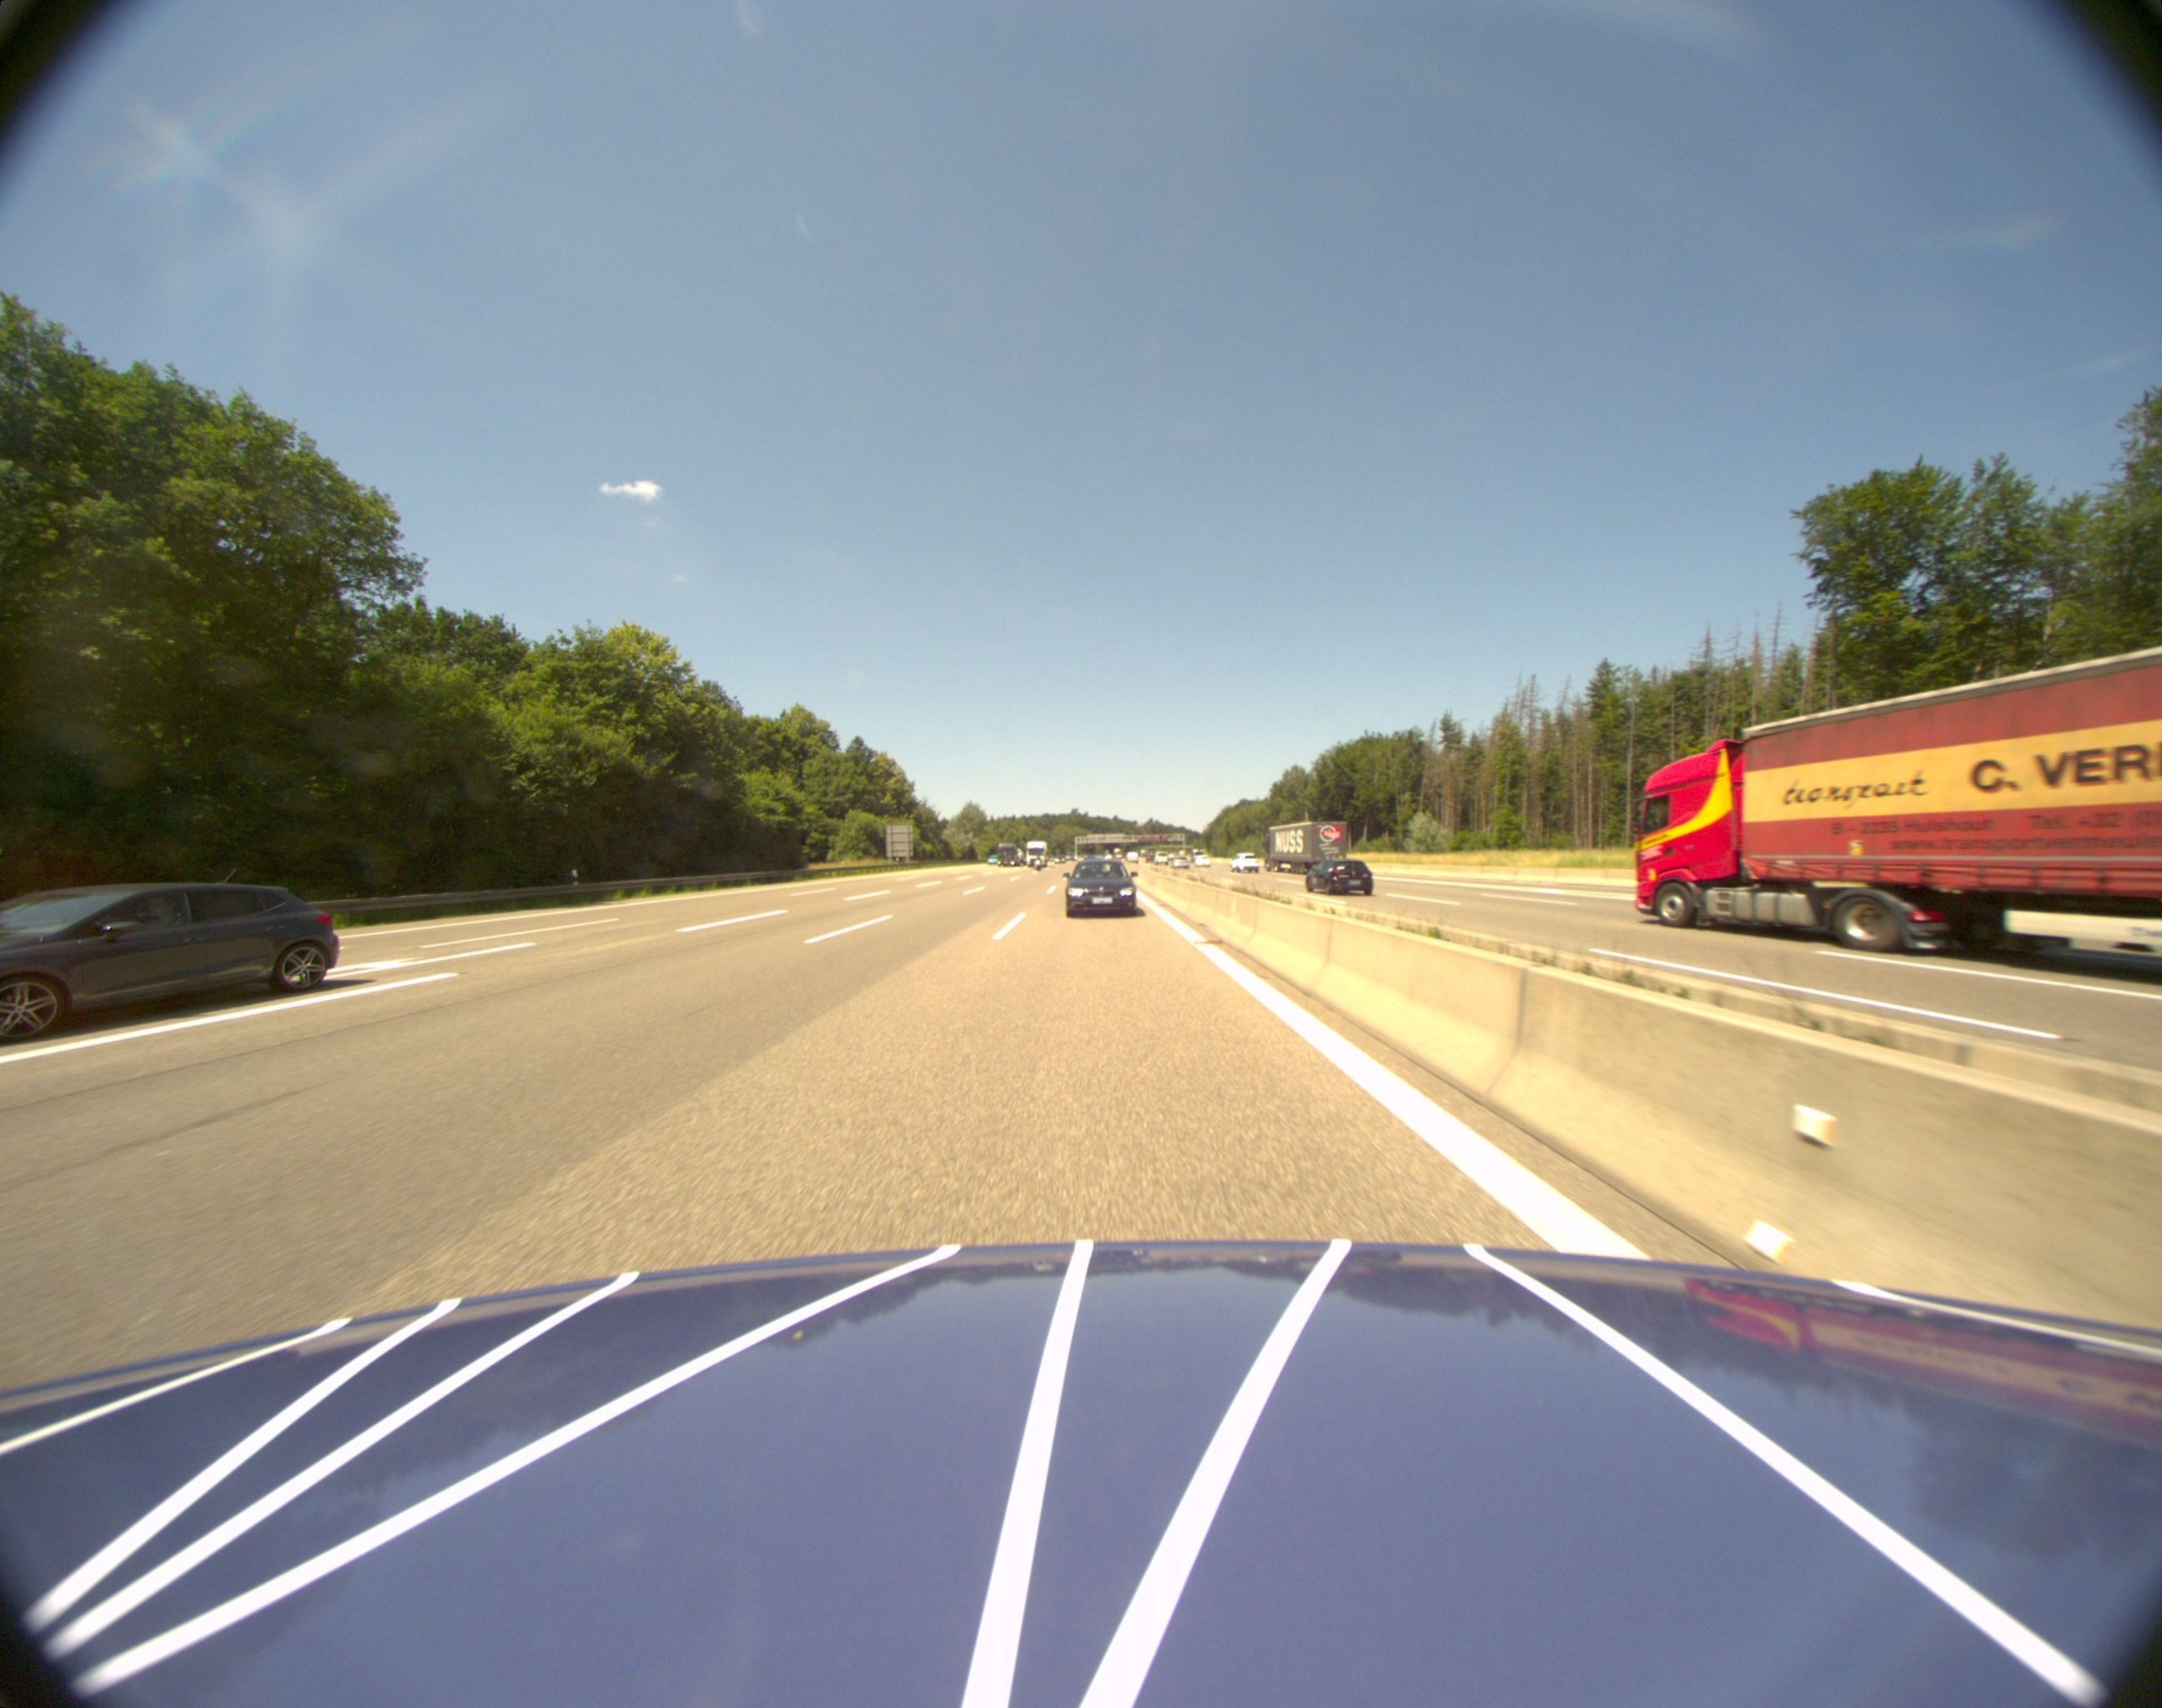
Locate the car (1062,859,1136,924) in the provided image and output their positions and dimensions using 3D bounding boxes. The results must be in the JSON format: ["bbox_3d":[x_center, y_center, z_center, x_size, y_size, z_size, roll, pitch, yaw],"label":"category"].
[{"bbox_3d":[0.490,0.908,20.262,1.741,1.450,4.542,-1,0,2],"label":"car"}]

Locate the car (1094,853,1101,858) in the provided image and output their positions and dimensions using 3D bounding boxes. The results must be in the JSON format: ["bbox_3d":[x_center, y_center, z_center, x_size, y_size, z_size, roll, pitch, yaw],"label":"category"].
[{"bbox_3d":[4.994,0.490,231.308,1.910,1.450,4.127,0,1,3],"label":"car"}]

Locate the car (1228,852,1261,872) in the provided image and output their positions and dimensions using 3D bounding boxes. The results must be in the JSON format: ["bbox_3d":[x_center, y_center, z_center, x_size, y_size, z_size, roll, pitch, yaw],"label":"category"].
[{"bbox_3d":[14.421,0.651,67.182,1.998,1.661,4.612,0,0,1],"label":"car"}]

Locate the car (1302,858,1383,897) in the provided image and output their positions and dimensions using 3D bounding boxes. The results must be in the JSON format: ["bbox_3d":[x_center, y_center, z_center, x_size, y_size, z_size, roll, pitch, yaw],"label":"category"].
[{"bbox_3d":[10.402,0.881,30.573,1.826,1.379,4.315,-1,0,1],"label":"car"}]

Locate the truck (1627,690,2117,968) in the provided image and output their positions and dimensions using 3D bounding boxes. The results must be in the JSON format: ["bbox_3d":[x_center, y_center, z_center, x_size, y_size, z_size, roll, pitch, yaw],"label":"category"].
[{"bbox_3d":[13.851,-0.375,14.314,2.534,4.025,6.472,-1,0,1],"label":"truck"}]

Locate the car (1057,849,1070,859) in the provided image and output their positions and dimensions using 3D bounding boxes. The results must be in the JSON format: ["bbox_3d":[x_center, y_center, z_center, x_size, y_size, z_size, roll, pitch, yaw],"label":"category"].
[{"bbox_3d":[-3.084,0.033,134.694,1.998,1.671,4.127,0,1,2],"label":"car"}]

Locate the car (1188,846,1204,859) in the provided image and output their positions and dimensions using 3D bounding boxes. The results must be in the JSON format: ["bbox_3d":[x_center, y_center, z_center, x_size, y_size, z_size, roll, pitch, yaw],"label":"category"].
[{"bbox_3d":[22.033,-0.226,145.665,1.953,2.398,6.345,0,0,0],"label":"car"}]

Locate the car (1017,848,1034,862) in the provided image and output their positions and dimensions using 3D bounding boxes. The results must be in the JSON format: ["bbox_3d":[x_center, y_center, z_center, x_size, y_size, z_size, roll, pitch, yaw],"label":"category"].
[{"bbox_3d":[-8.151,0.134,112.460,1.998,1.885,4.870,0,1,2],"label":"car"}]

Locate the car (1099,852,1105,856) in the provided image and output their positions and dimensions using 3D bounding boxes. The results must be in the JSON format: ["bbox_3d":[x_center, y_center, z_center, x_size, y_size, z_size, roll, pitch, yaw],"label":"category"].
[{"bbox_3d":[7.049,-0.022,251.259,1.910,1.450,4.127,0,1,3],"label":"car"}]

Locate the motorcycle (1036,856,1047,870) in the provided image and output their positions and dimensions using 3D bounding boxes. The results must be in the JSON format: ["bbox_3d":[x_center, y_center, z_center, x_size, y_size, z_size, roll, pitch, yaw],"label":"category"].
[{"bbox_3d":[-3.950,0.860,75.876,0.925,1.311,2.998,-1,0,1],"label":"motorcycle"}]

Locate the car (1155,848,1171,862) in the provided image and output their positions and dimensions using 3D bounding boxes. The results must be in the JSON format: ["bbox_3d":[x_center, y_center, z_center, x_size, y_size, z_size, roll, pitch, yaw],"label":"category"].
[{"bbox_3d":[12.627,0.105,117.149,1.998,2.002,5.129,0,1,1],"label":"car"}]

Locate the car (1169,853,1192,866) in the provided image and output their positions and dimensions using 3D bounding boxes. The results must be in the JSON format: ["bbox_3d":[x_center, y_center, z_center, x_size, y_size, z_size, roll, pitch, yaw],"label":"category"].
[{"bbox_3d":[11.264,0.583,86.300,1.998,1.369,5.010,0,1,1],"label":"car"}]

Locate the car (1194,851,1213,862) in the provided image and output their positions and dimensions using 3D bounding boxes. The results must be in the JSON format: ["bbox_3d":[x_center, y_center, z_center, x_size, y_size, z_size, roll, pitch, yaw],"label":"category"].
[{"bbox_3d":[15.835,0.303,98.401,1.809,1.477,3.810,-1,0,1],"label":"car"}]

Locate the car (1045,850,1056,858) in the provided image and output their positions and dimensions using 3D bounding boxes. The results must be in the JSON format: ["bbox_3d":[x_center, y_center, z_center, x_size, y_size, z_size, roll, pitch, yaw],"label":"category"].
[{"bbox_3d":[-6.534,-0.081,164.402,1.998,1.671,4.127,0,1,3],"label":"car"}]

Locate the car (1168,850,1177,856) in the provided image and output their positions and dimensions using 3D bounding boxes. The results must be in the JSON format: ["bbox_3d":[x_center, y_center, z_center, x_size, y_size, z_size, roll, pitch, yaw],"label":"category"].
[{"bbox_3d":[23.486,-0.194,195.343,1.734,1.561,3.863,-1,0,1],"label":"car"}]

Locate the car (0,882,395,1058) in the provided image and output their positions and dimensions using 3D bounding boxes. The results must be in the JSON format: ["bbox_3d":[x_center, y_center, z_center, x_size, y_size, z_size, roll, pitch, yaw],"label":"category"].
[{"bbox_3d":[-10.695,1.150,8.570,1.647,1.430,4.634,-1,1,0],"label":"car"}]

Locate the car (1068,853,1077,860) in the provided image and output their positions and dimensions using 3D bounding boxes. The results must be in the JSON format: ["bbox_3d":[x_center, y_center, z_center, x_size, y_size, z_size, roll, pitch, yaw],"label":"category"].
[{"bbox_3d":[-1.926,0.632,177.567,1.998,1.671,4.127,0,1,1],"label":"car"}]

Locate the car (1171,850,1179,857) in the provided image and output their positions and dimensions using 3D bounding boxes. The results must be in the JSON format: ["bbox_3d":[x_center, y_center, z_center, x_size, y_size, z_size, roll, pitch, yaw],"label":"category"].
[{"bbox_3d":[23.640,-0.176,191.563,1.734,1.561,3.863,-1,0,1],"label":"car"}]

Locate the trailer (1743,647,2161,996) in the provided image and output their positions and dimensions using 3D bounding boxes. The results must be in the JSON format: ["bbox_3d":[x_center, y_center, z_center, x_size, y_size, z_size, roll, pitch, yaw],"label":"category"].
[{"bbox_3d":[13.764,-0.379,7.318,2.577,4.026,14.181,-1,0,1],"label":"trailer"}]

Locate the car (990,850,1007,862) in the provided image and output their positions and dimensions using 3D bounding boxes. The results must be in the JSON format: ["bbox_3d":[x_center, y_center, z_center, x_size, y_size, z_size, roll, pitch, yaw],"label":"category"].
[{"bbox_3d":[-12.223,0.292,112.697,1.998,1.671,4.127,0,1,2],"label":"car"}]

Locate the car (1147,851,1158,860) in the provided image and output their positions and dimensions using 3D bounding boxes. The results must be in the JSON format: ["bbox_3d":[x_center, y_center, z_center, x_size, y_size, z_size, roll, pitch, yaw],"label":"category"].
[{"bbox_3d":[13.938,0.311,147.855,1.832,1.689,5.003,0,0,1],"label":"car"}]

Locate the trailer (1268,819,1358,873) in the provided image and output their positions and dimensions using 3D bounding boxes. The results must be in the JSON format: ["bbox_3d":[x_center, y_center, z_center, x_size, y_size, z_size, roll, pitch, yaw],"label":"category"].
[{"bbox_3d":[18.846,-0.644,63.146,3.350,3.978,14.278,0,0,1],"label":"trailer"}]

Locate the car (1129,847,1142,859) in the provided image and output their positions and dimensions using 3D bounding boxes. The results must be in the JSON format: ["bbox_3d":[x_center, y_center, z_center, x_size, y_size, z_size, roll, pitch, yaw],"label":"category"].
[{"bbox_3d":[9.529,-0.114,132.598,2.082,2.032,5.711,0,0,1],"label":"car"}]

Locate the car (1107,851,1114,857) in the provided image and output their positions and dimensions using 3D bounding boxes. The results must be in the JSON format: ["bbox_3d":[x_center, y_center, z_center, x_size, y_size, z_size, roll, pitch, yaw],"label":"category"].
[{"bbox_3d":[9.423,0.022,244.810,1.998,1.935,4.128,-1,0,4],"label":"car"}]

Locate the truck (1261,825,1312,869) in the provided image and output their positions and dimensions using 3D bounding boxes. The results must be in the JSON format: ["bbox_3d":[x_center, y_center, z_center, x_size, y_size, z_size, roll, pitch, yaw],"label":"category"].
[{"bbox_3d":[18.929,-0.661,70.438,3.296,3.908,5.539,-1,1,1],"label":"truck"}]

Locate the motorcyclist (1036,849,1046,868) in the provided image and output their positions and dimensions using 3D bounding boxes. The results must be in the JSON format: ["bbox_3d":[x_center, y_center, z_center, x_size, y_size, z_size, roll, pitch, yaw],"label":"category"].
[{"bbox_3d":[-3.961,0.458,75.681,0.914,1.926,0.905,-1,1,0],"label":"motorcyclist"}]

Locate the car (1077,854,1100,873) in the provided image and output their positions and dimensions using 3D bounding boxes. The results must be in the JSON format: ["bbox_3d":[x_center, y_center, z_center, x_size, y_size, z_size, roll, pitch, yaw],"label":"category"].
[{"bbox_3d":[0.616,0.780,62.879,1.834,1.454,4.204,0,1,1],"label":"car"}]

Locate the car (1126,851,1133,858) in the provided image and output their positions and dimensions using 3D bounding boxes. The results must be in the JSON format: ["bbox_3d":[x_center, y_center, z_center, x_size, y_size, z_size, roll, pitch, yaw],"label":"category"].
[{"bbox_3d":[12.465,0.059,195.517,1.854,1.668,5.044,0,0,1],"label":"car"}]

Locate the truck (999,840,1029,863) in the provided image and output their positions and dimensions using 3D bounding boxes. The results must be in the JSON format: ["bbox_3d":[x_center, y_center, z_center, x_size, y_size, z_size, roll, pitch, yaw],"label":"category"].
[{"bbox_3d":[-8.876,-0.374,101.997,2.660,2.839,10.886,0,1,3],"label":"truck"}]

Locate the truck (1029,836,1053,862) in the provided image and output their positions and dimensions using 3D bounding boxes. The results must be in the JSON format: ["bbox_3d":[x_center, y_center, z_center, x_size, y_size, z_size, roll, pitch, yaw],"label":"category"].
[{"bbox_3d":[-5.157,-0.637,99.094,2.428,3.237,8.689,0,1,1],"label":"truck"}]
